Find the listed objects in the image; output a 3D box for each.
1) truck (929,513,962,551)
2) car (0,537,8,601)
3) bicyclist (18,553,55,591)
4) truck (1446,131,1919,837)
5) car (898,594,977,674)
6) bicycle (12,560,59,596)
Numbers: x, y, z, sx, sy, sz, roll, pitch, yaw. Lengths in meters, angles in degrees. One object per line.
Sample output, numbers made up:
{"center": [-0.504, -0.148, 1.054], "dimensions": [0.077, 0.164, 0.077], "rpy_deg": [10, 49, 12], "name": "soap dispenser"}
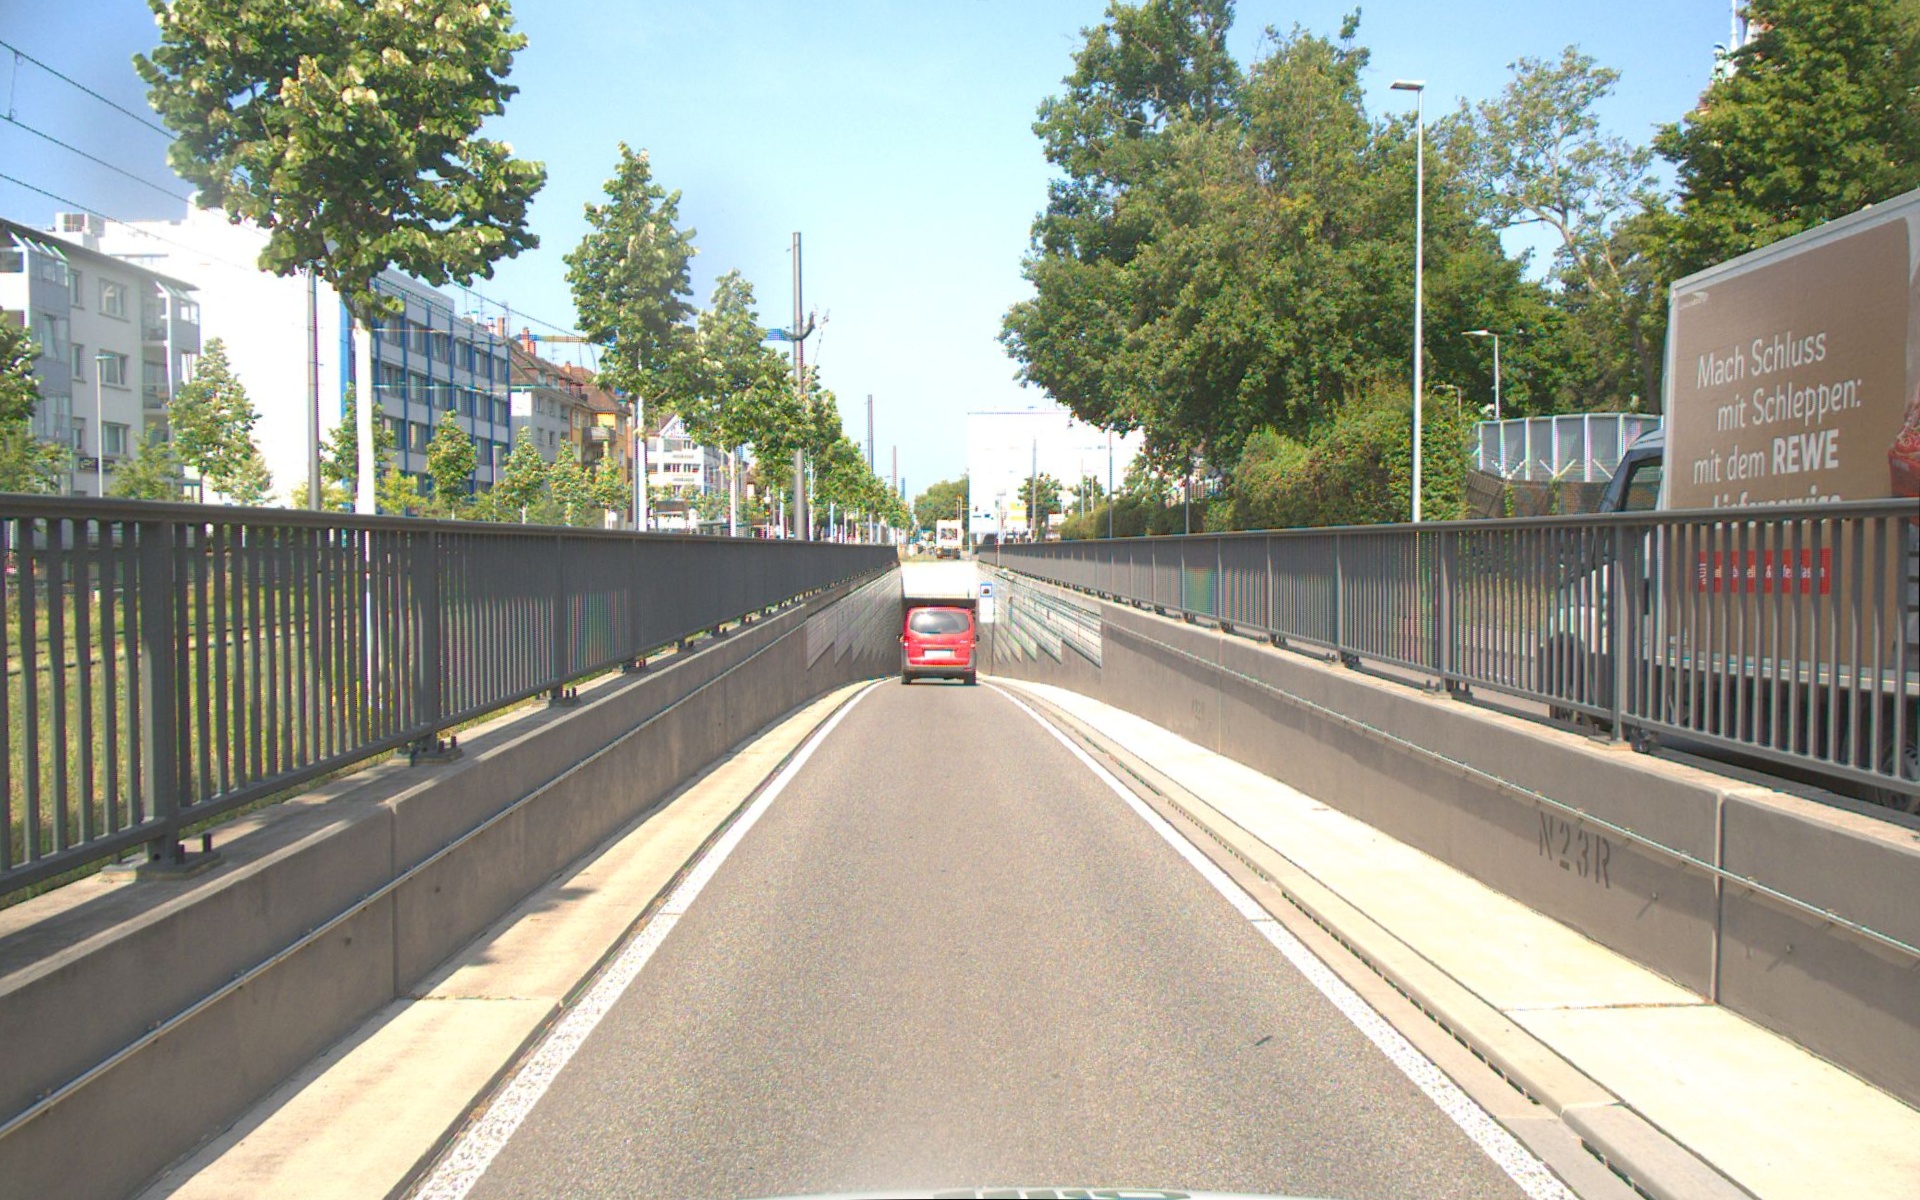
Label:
{"center": [-1.556, -7.118, 174.286], "dimensions": [3.322, 3.791, 10.451], "rpy_deg": [0, 2, -1], "name": "truck"}
{"center": [-31.755, -1.023, 50.667], "dimensions": [2.204, 2.049, 5.261], "rpy_deg": [2, 0, -2], "name": "car"}
{"center": [-29.717, -0.917, 53.237], "dimensions": [0.521, 1.199, 1.251], "rpy_deg": [2, 1, -3], "name": "bicyclist"}
{"center": [5.372, -0.543, 9.608], "dimensions": [2.452, 3.114, 7.818], "rpy_deg": [2, 1, -2], "name": "truck"}
{"center": [-0.516, 0.820, 41.674], "dimensions": [1.862, 1.892, 4.000], "rpy_deg": [1, 0, 1], "name": "car"}
{"center": [-29.728, -0.704, 53.217], "dimensions": [0.521, 1.112, 1.875], "rpy_deg": [2, 0, -3], "name": "bicycle"}
